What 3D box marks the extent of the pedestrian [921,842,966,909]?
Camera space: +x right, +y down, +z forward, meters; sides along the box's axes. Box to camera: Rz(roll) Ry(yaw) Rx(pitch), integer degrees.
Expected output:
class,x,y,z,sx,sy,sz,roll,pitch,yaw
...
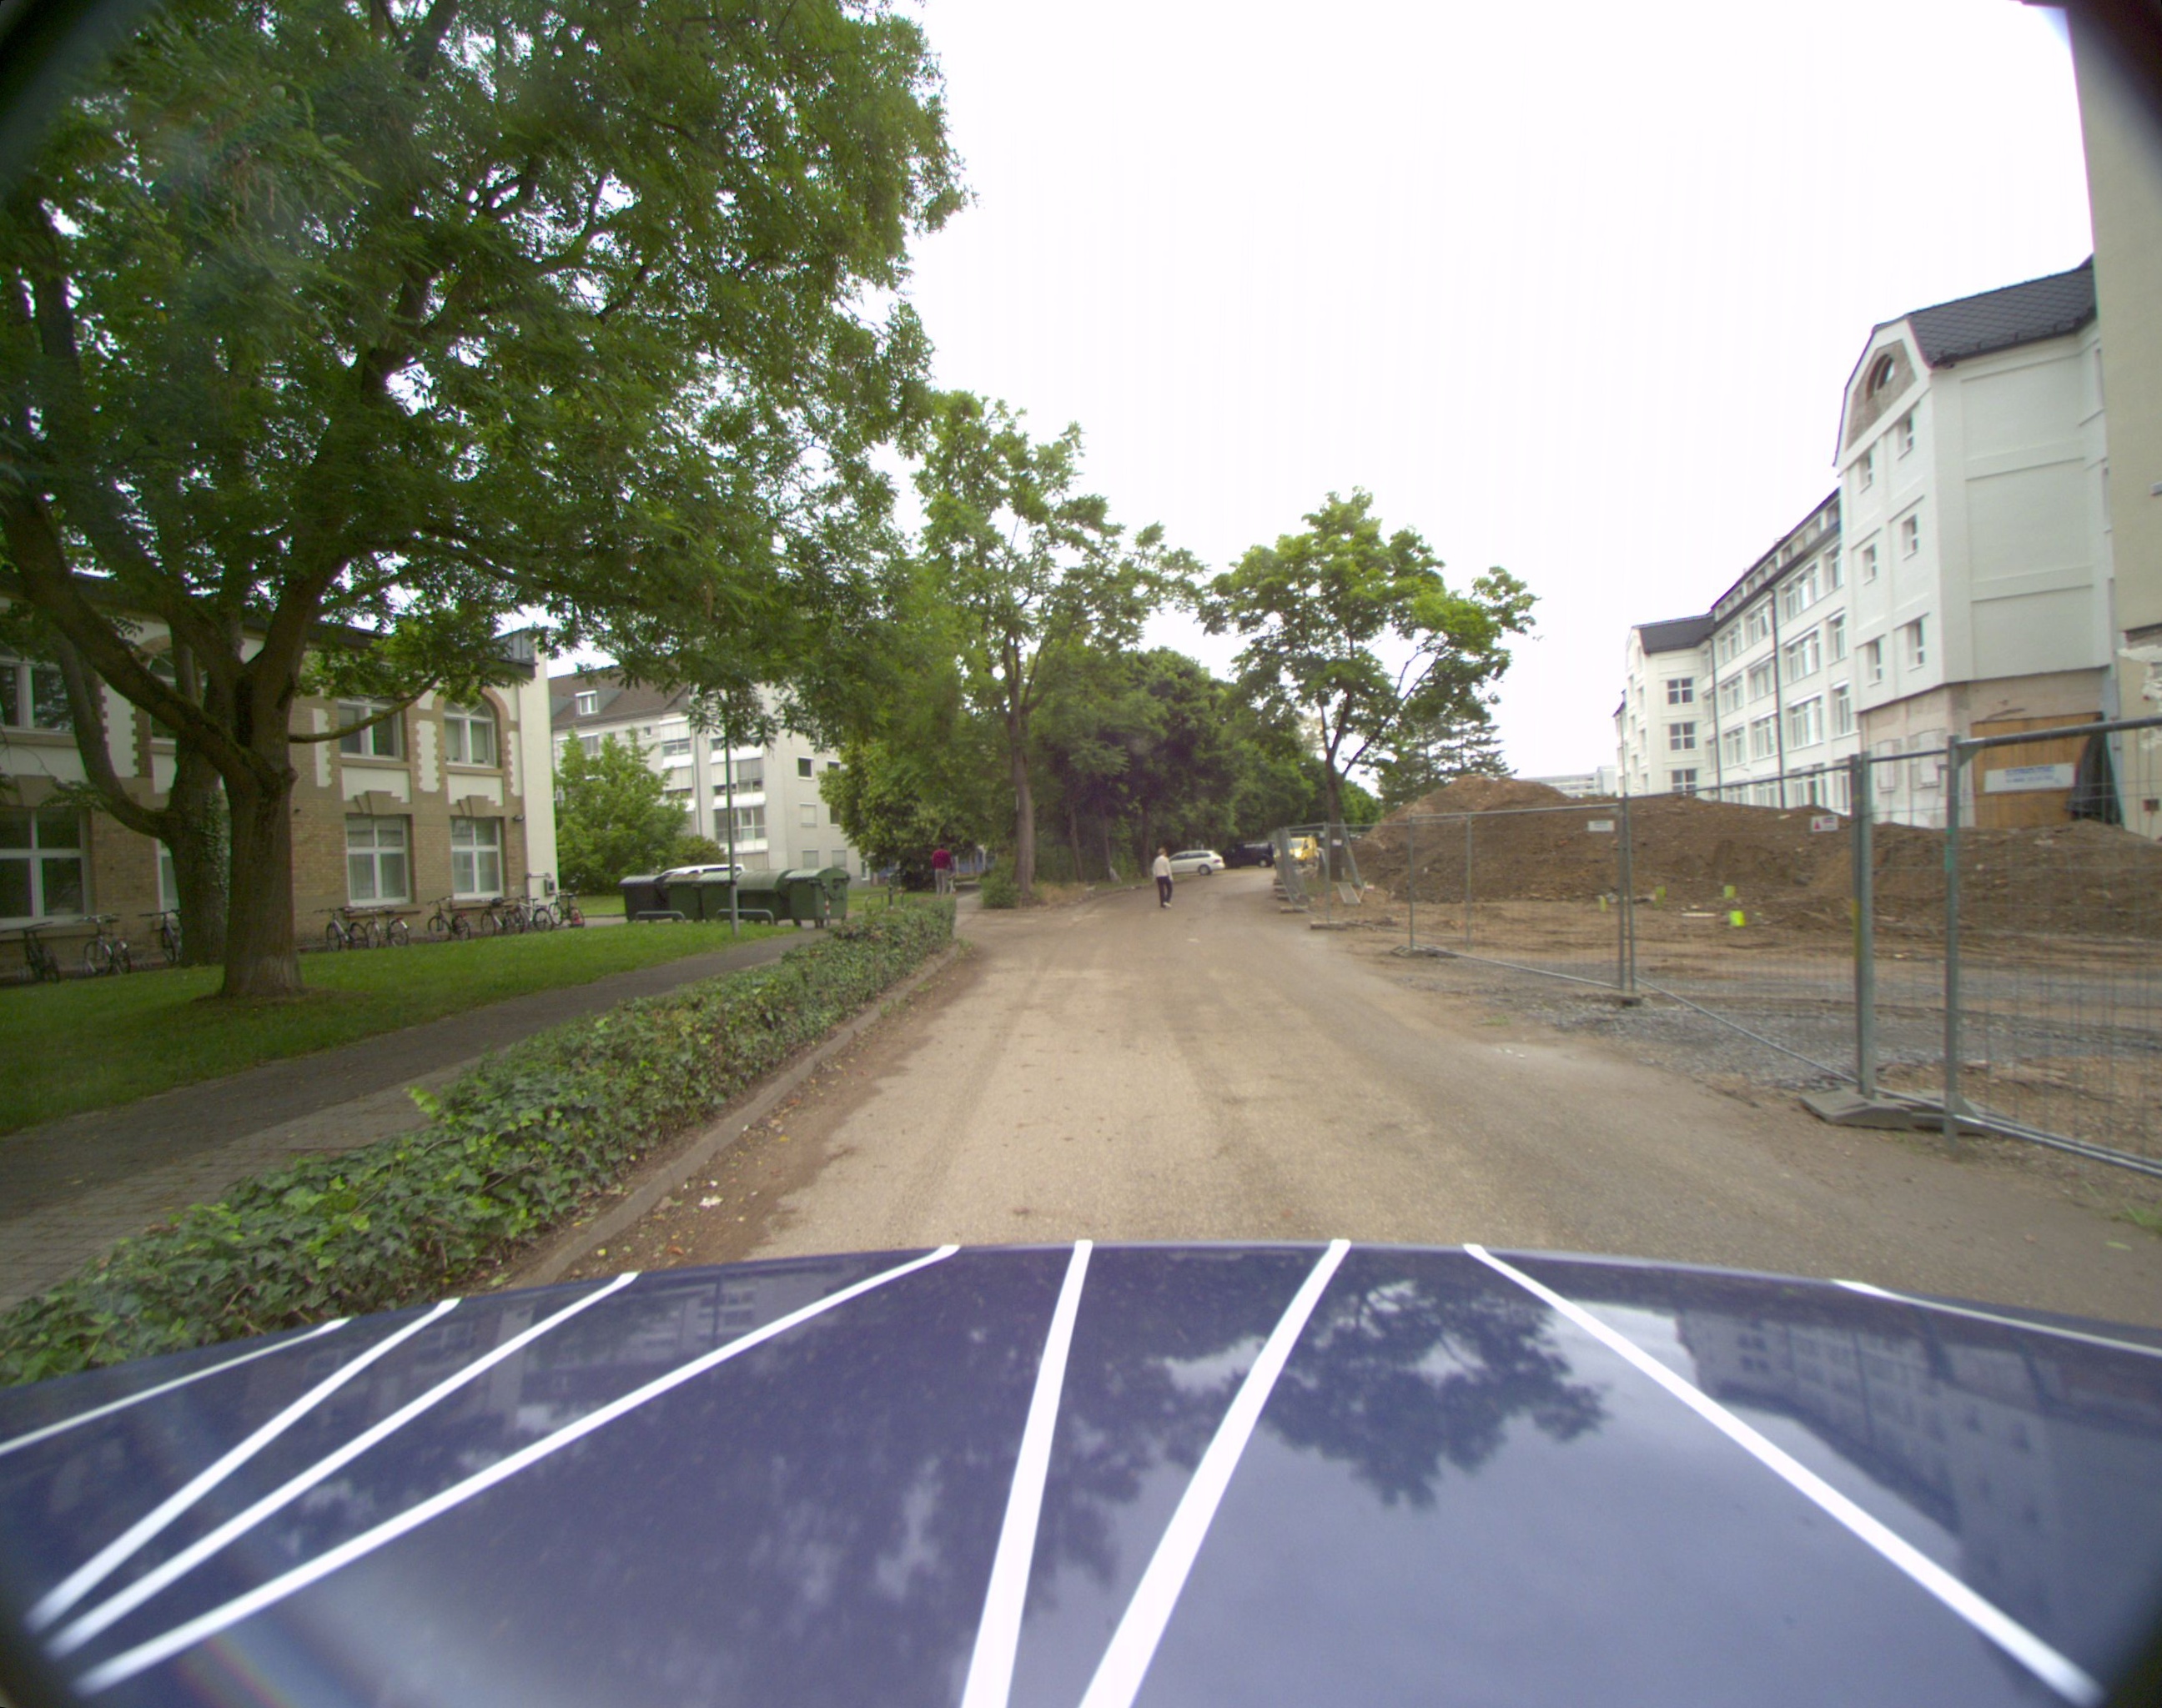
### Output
class,x,y,z,sx,sy,sz,roll,pitch,yaw
pedestrian,-4.377,0.665,24.175,0.793,2.052,1.203,-2,1,23

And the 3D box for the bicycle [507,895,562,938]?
class,x,y,z,sx,sy,sz,roll,pitch,yaw
bicycle,-14.901,1.690,20.720,1.740,1.108,0.461,-3,0,28

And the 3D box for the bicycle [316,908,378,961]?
class,x,y,z,sx,sy,sz,roll,pitch,yaw
bicycle,-16.608,1.801,17.176,1.740,1.108,0.461,-3,0,28

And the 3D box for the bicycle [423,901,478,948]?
class,x,y,z,sx,sy,sz,roll,pitch,yaw
bicycle,-15.743,1.740,18.961,1.740,1.108,0.461,-3,0,30

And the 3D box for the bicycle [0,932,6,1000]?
class,x,y,z,sx,sy,sz,roll,pitch,yaw
bicycle,-18.748,1.879,12.817,1.740,1.108,0.461,-1,1,28

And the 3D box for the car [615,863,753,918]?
class,x,y,z,sx,sy,sz,roll,pitch,yaw
car,-16.513,1.470,31.896,1.897,1.862,4.781,-5,-1,28

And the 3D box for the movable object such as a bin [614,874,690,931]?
class,x,y,z,sx,sy,sz,roll,pitch,yaw
movable object such as a bin,-11.632,1.307,20.646,1.359,1.442,1.110,-3,1,21

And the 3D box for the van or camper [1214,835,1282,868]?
class,x,y,z,sx,sy,sz,roll,pitch,yaw
van or camper,12.469,-0.199,56.828,4.490,2.245,2.003,-2,1,27

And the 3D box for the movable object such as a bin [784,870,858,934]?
class,x,y,z,sx,sy,sz,roll,pitch,yaw
movable object such as a bin,-6.235,1.132,18.208,1.272,1.426,1.074,-2,1,36

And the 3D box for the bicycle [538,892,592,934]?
class,x,y,z,sx,sy,sz,roll,pitch,yaw
bicycle,-14.570,1.663,21.438,1.740,1.108,0.461,-3,0,28

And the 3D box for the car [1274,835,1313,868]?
class,x,y,z,sx,sy,sz,roll,pitch,yaw
car,13.983,-0.187,49.896,2.121,2.002,4.005,-2,0,20

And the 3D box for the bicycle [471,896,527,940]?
class,x,y,z,sx,sy,sz,roll,pitch,yaw
bicycle,-15.271,1.674,19.929,1.740,1.108,0.461,-3,0,28

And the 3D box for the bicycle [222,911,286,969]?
class,x,y,z,sx,sy,sz,roll,pitch,yaw
bicycle,-17.237,1.767,15.826,1.740,1.108,0.461,-2,1,28

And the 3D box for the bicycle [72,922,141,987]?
class,x,y,z,sx,sy,sz,roll,pitch,yaw
bicycle,-18.150,1.840,14.143,1.740,1.108,0.461,-3,0,28

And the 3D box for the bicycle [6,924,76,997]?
class,x,y,z,sx,sy,sz,roll,pitch,yaw
bicycle,-18.393,1.854,13.432,1.740,1.108,0.461,0,2,28

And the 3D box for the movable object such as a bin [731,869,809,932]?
class,x,y,z,sx,sy,sz,roll,pitch,yaw
movable object such as a bin,-7.635,1.124,18.678,1.283,1.442,1.110,-3,1,21

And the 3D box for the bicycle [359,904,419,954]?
class,x,y,z,sx,sy,sz,roll,pitch,yaw
bicycle,-16.276,1.752,17.858,1.740,1.108,0.461,-3,0,28

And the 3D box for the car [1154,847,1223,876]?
class,x,y,z,sx,sy,sz,roll,pitch,yaw
car,6.490,0.464,45.684,3.879,1.565,1.754,-2,1,15

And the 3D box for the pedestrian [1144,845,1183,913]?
class,x,y,z,sx,sy,sz,roll,pitch,yaw
pedestrian,2.230,0.662,20.516,0.752,1.771,0.662,-3,1,-24

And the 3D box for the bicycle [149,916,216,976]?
class,x,y,z,sx,sy,sz,roll,pitch,yaw
bicycle,-17.702,1.789,14.956,1.740,1.108,0.461,-3,0,28

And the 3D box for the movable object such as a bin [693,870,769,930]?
class,x,y,z,sx,sy,sz,roll,pitch,yaw
movable object such as a bin,-8.963,1.169,19.484,1.292,1.442,1.110,-3,1,21

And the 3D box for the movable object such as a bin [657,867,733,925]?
class,x,y,z,sx,sy,sz,roll,pitch,yaw
movable object such as a bin,-10.228,1.104,20.151,1.324,1.442,1.110,-3,1,21
